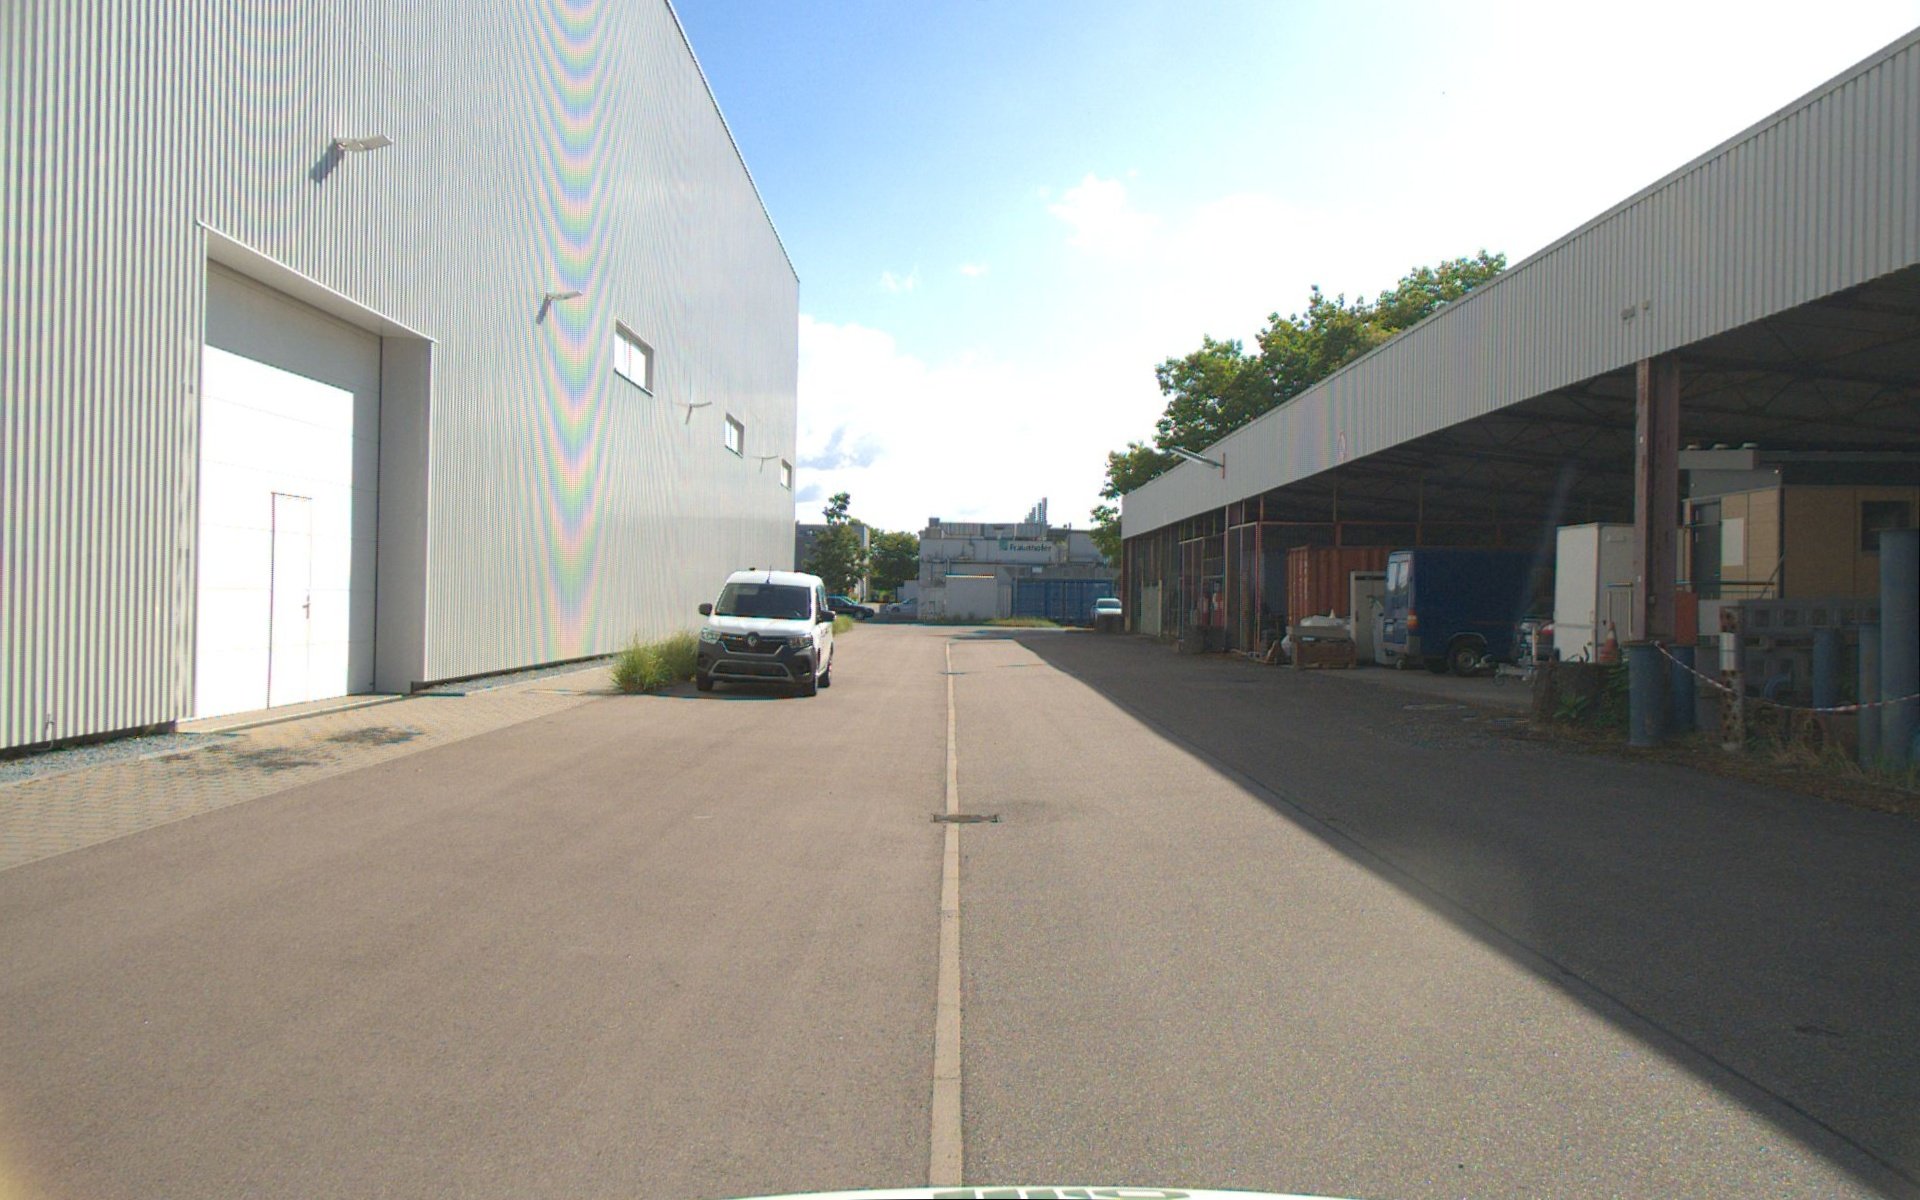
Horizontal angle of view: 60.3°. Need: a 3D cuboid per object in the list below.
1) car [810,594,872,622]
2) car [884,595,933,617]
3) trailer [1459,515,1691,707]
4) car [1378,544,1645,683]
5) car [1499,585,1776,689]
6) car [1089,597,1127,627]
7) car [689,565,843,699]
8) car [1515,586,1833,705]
[{"bbox_3d":[-7.747,0.521,107.661,3.906,1.626,1.741,2,-2,-2],"label":"car"},{"bbox_3d":[-4.212,0.476,135.580,3.906,1.626,1.847,2,-2,-2],"label":"car"},{"bbox_3d":[8.189,0.152,22.166,2.472,2.441,1.727,1,-1,0],"label":"trailer"},{"bbox_3d":[10.252,0.278,30.974,4.342,2.350,1.915,2,-2,0],"label":"car"},{"bbox_3d":[11.358,0.635,27.888,3.955,1.551,1.684,2,-2,0],"label":"car"},{"bbox_3d":[8.513,0.682,95.424,1.921,1.592,4.060,2,1,1],"label":"car"},{"bbox_3d":[-2.892,0.440,25.501,1.781,1.818,4.405,2,0,0],"label":"car"},{"bbox_3d":[10.478,0.680,24.455,3.955,1.551,1.684,2,-2,0],"label":"car"}]
